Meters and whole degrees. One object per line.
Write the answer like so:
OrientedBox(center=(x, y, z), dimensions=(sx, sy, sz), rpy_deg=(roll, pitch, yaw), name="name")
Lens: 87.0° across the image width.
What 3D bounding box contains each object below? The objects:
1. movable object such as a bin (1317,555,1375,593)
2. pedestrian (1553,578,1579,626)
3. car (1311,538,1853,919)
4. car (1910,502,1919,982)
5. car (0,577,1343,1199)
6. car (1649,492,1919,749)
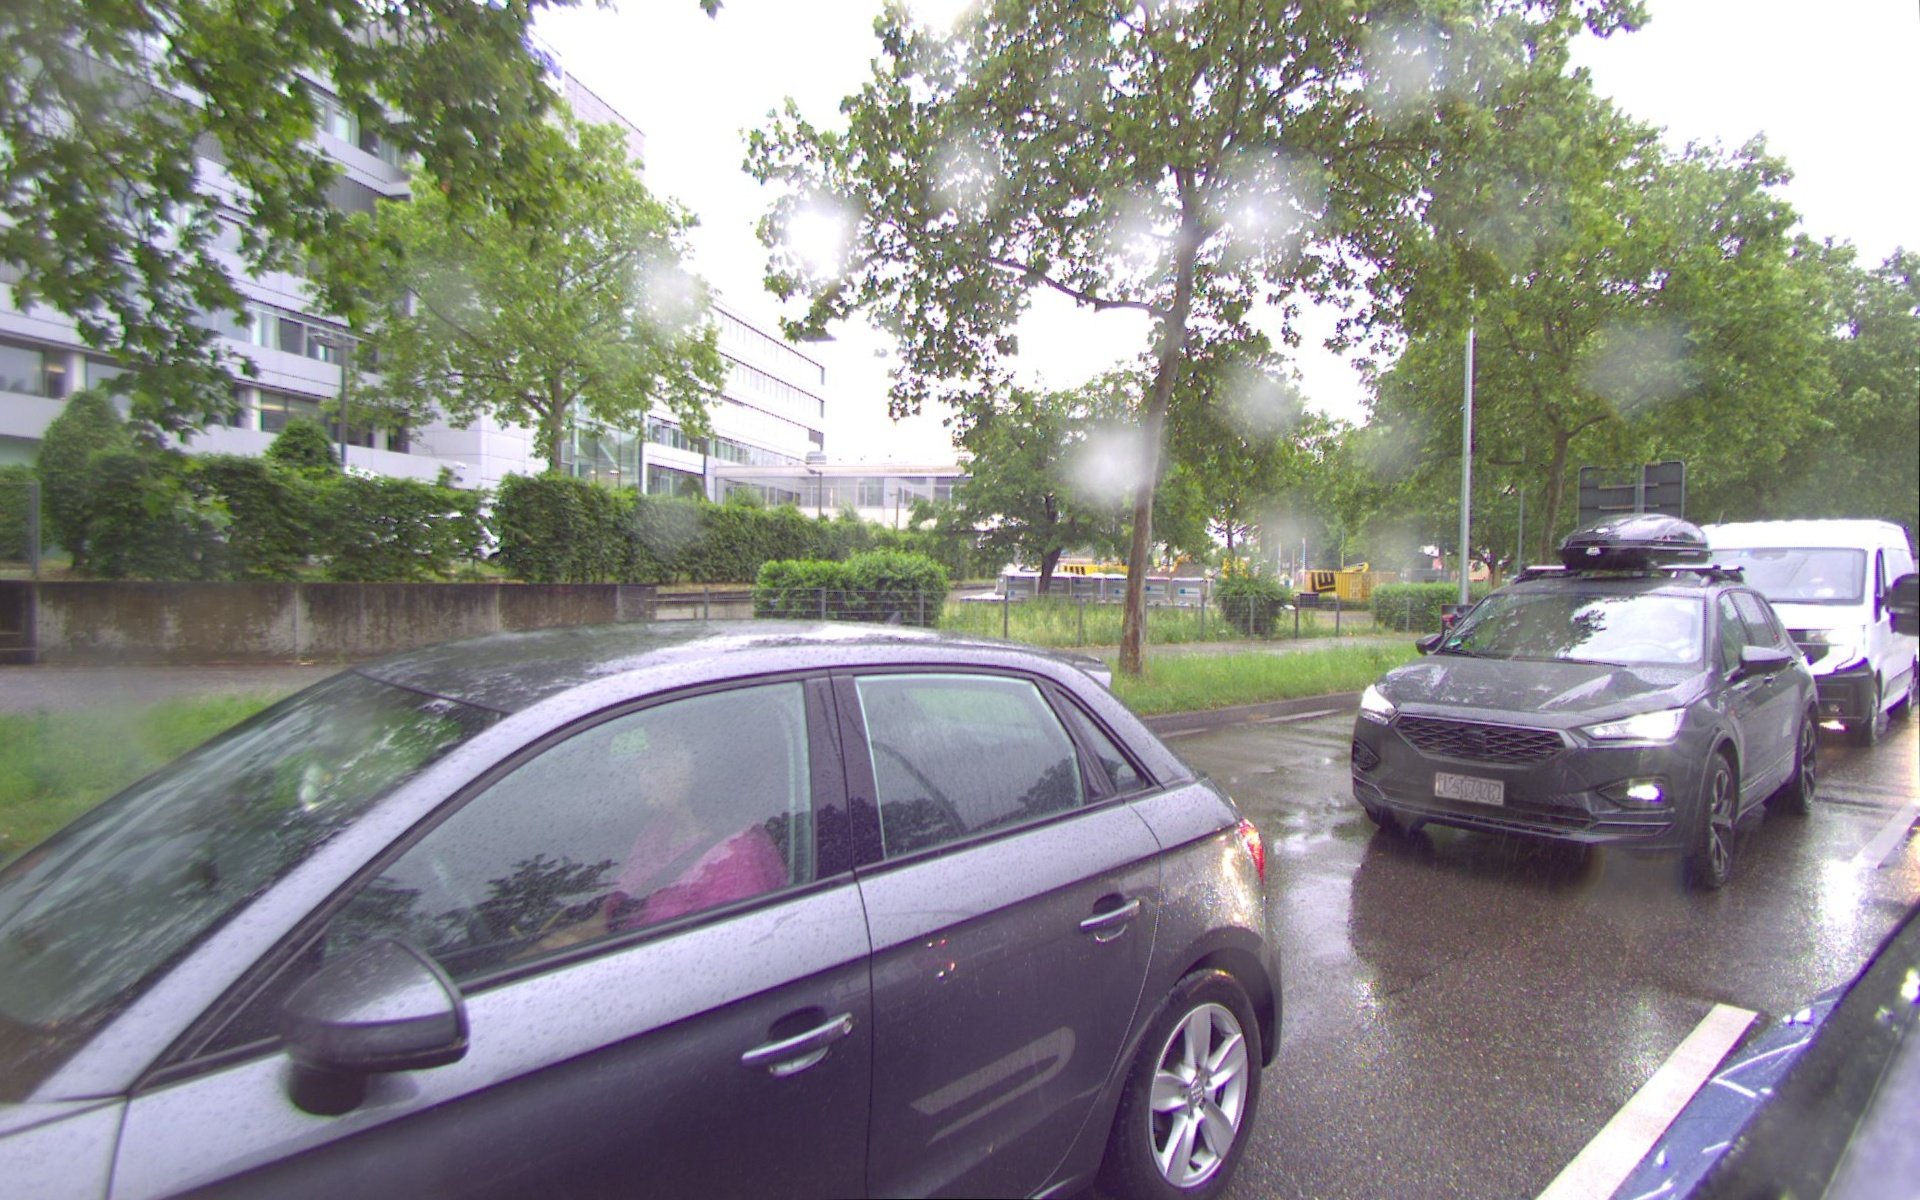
OrientedBox(center=(36.345, -2.446, 95.248), dimensions=(4.892, 3.478, 1.900), rpy_deg=(0, 0, 28), name="movable object such as a bin")
OrientedBox(center=(22.272, 0.052, 37.175), dimensions=(0.645, 1.738, 0.645), rpy_deg=(0, 0, -40), name="pedestrian")
OrientedBox(center=(4.327, 0.554, 6.726), dimensions=(4.347, 1.719, 1.892), rpy_deg=(0, 1, -42), name="car")
OrientedBox(center=(6.329, 0.180, 4.964), dimensions=(5.599, 2.544, 2.024), rpy_deg=(0, 1, -43), name="car")
OrientedBox(center=(-0.932, 0.686, 2.097), dimensions=(3.715, 1.446, 1.679), rpy_deg=(0, 1, -41), name="car")
OrientedBox(center=(10.158, 0.170, 12.202), dimensions=(5.227, 2.476, 1.892), rpy_deg=(0, 1, -43), name="car")
